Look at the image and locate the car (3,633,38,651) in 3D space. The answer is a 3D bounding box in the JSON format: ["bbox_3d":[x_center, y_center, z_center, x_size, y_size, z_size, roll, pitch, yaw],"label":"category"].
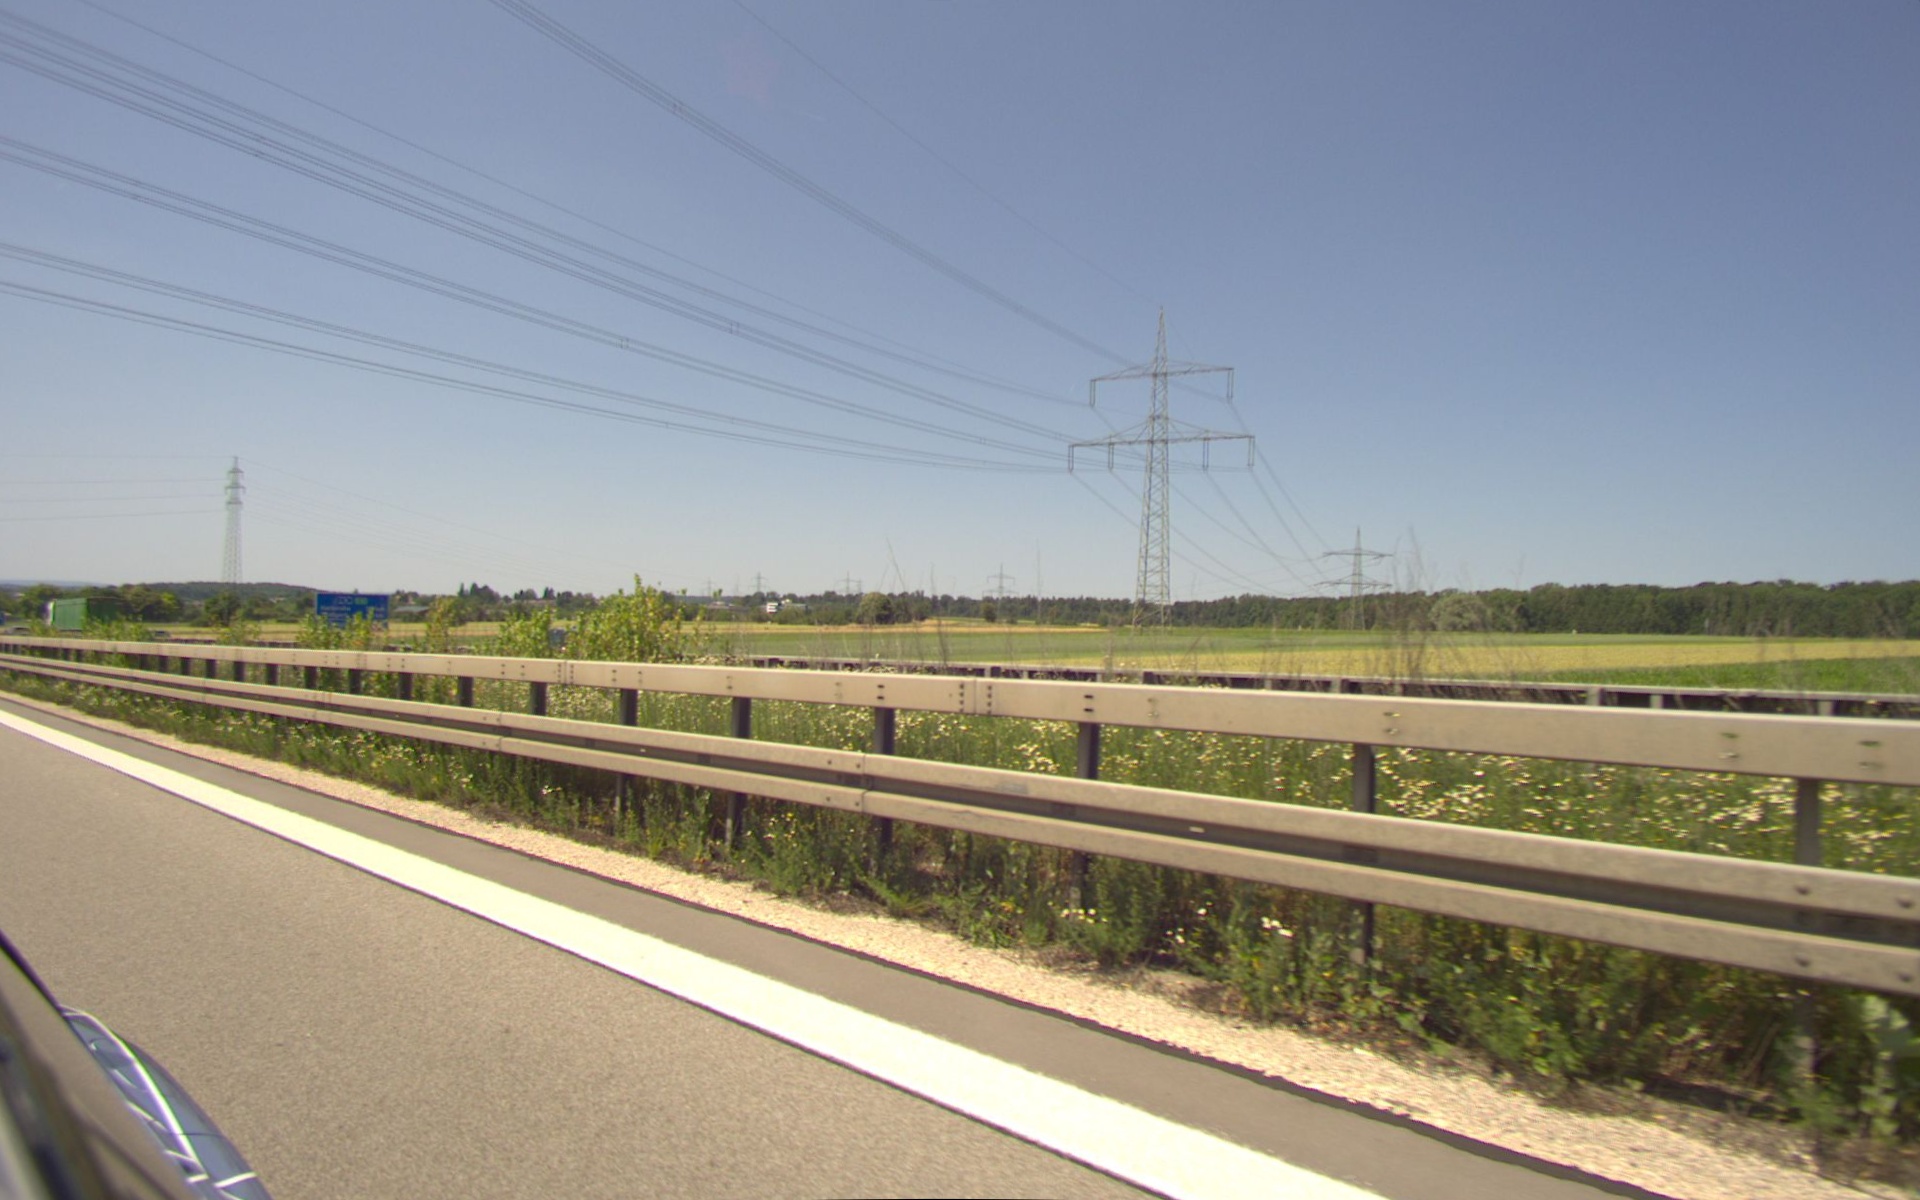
[{"bbox_3d":[-78.178,3.481,84.173,3.997,1.476,1.617,-2,-4,41],"label":"car"}]

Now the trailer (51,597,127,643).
[{"bbox_3d":[-72.784,1.643,84.462,12.524,3.621,2.726,-1,-1,39],"label":"trailer"}]

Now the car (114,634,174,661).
[{"bbox_3d":[-44.882,2.609,55.638,3.996,1.444,1.706,-1,-4,39],"label":"car"}]

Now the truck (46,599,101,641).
[{"bbox_3d":[-77.171,1.710,88.073,5.894,3.586,2.696,-1,-1,39],"label":"truck"}]

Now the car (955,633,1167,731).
[{"bbox_3d":[1.984,1.568,20.570,3.998,1.706,1.804,-1,-1,41],"label":"car"}]
